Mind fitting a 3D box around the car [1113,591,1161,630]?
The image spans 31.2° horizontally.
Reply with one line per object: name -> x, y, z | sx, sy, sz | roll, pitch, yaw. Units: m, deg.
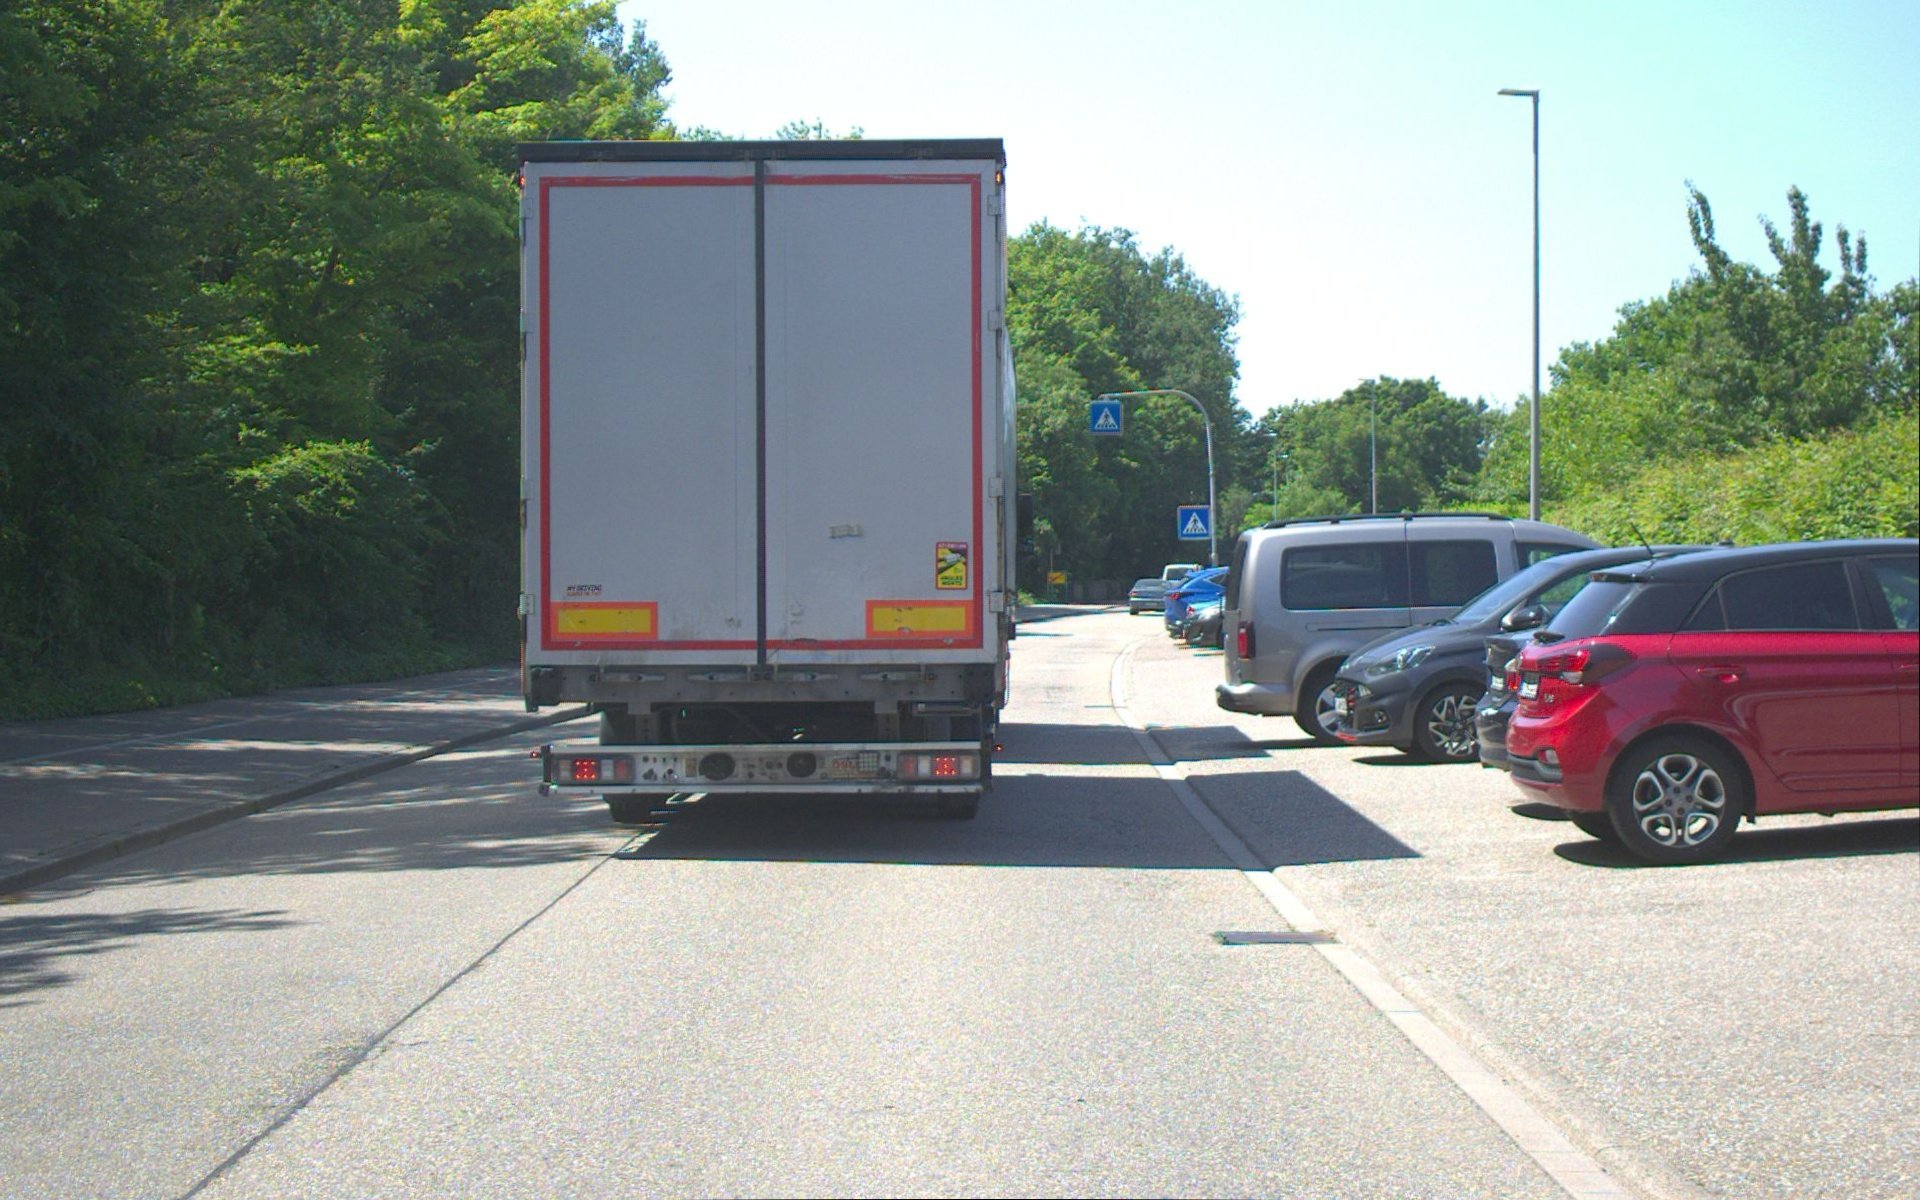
car -> 6.854, 0.411, 133.341 | 1.781, 1.481, 4.000 | 1, 0, 2

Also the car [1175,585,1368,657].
car -> 6.191, 0.420, 68.451 | 3.735, 1.264, 1.627 | -2, -1, 5

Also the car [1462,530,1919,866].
car -> 4.617, 0.401, 17.083 | 3.919, 1.473, 1.845 | -3, 0, 1

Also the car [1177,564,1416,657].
car -> 6.058, 0.198, 62.278 | 4.164, 1.490, 1.882 | -2, -1, 3

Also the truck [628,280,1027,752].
truck -> -0.985, -0.688, 30.302 | 3.114, 3.712, 6.413 | 0, 0, 1

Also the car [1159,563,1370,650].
car -> 6.286, 0.146, 71.335 | 4.238, 1.628, 1.823 | -2, -1, 3

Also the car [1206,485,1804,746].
car -> 4.460, 0.121, 28.727 | 4.621, 1.842, 1.996 | -3, 0, 2

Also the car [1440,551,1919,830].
car -> 5.030, 0.442, 19.739 | 4.203, 1.384, 1.841 | -3, 0, 0

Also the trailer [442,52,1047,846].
trailer -> -1.073, -0.826, 23.535 | 3.113, 4.088, 11.536 | 0, 0, 0

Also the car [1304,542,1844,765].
car -> 4.510, 0.382, 25.591 | 3.575, 1.497, 1.842 | -2, 0, -4
